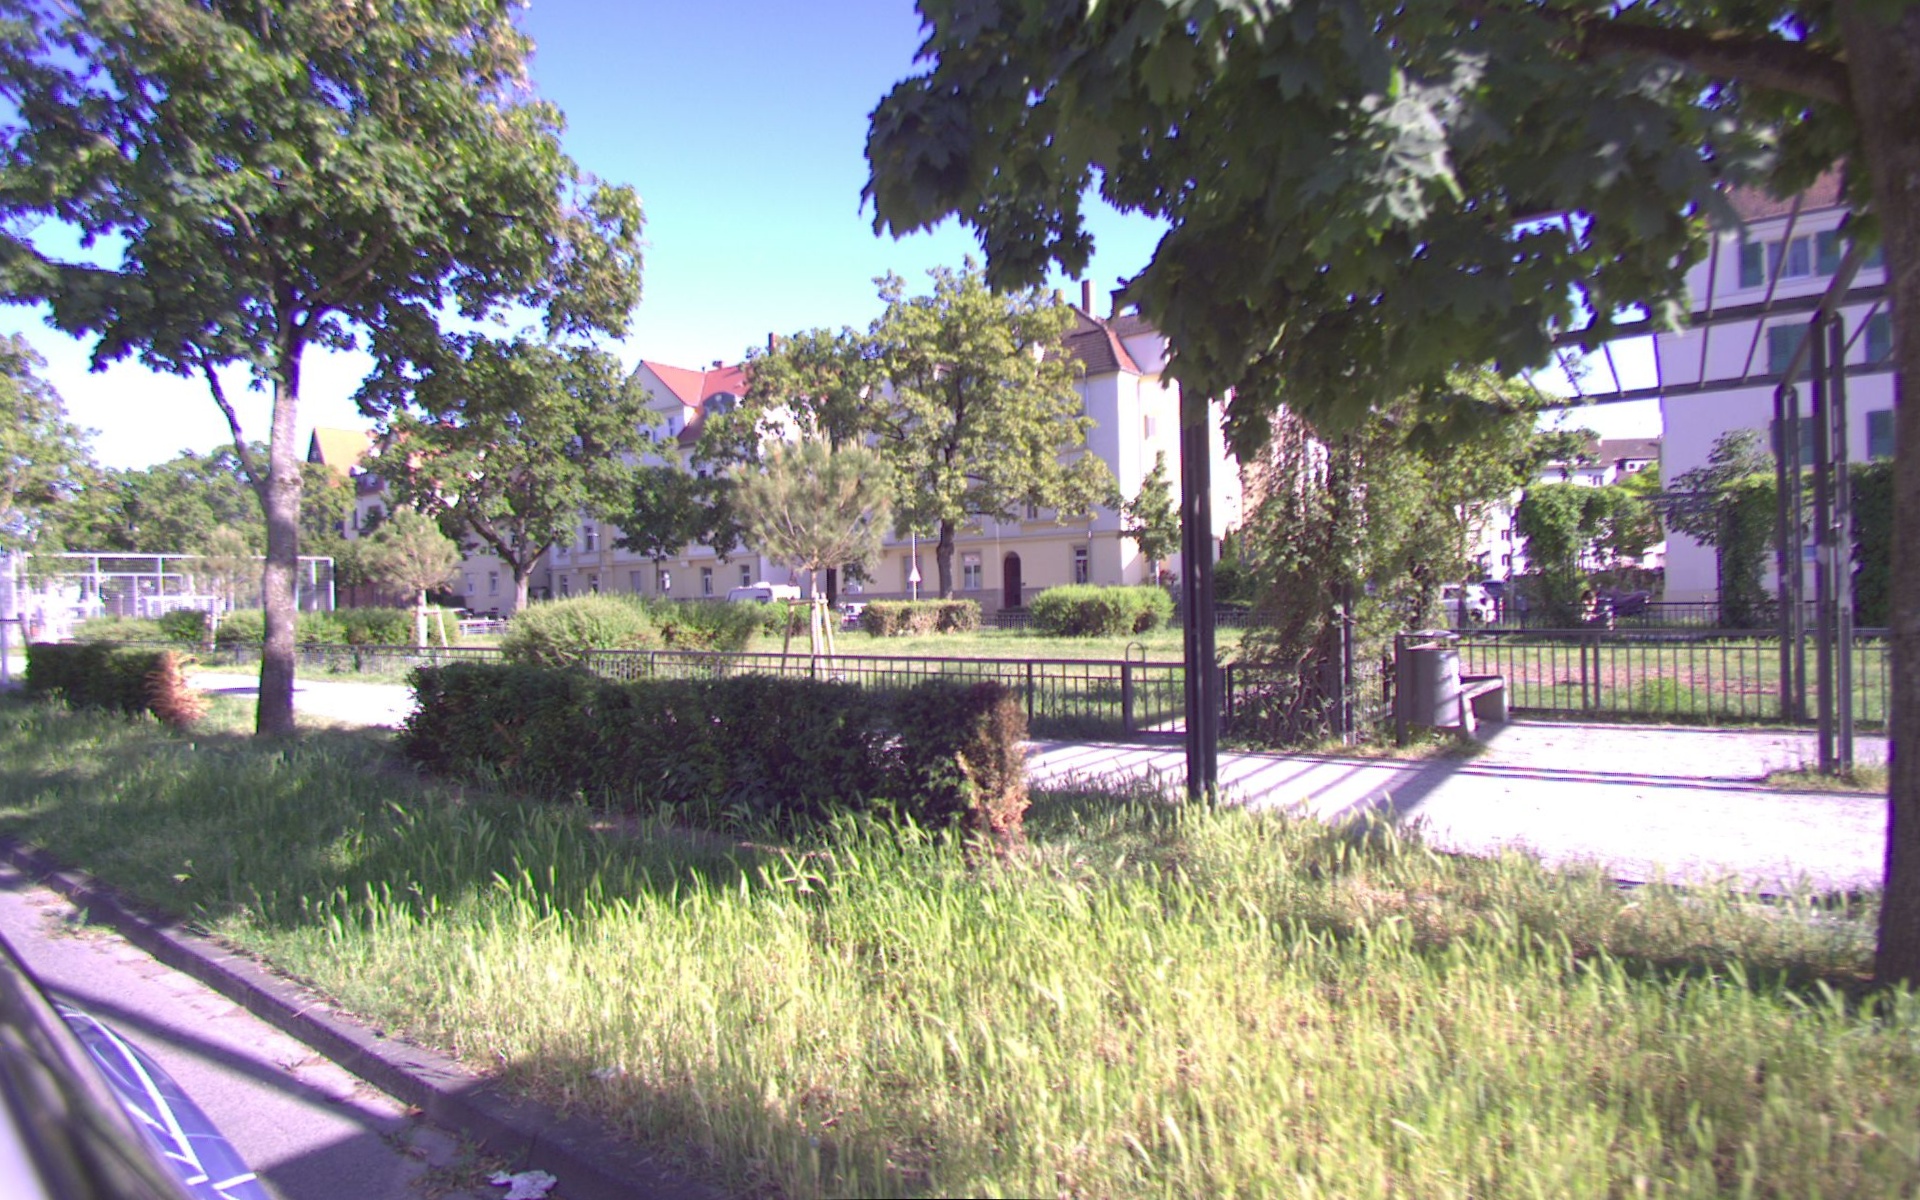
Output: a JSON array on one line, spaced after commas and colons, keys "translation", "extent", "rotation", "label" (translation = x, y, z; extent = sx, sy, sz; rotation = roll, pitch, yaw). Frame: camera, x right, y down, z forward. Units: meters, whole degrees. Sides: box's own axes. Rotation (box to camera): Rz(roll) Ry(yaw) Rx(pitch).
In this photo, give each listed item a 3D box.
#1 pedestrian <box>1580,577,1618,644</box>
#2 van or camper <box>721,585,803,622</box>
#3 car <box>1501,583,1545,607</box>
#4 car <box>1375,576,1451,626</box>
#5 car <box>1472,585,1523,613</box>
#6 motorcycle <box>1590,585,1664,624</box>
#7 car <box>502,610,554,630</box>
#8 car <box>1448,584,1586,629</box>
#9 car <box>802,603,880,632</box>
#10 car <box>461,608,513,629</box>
[{"translation": [14.105, 0.234, 22.333], "extent": [0.672, 1.450, 0.539], "rotation": [-2, 0, 34], "label": "pedestrian"}, {"translation": [-11.301, 0.206, 57.806], "extent": [4.366, 2.029, 2.247], "rotation": [-1, 1, 37], "label": "van or camper"}, {"translation": [38.348, -0.363, 68.867], "extent": [2.040, 1.530, 3.767], "rotation": [-1, 0, 38], "label": "car"}, {"translation": [18.937, 0.016, 42.272], "extent": [2.040, 1.970, 3.767], "rotation": [-1, 0, 38], "label": "car"}, {"translation": [31.936, -0.068, 60.053], "extent": [2.040, 1.530, 3.767], "rotation": [-1, 0, 38], "label": "car"}, {"translation": [23.576, 0.166, 35.819], "extent": [2.140, 1.315, 0.809], "rotation": [-1, 0, 35], "label": "motorcycle"}, {"translation": [-30.726, 1.445, 71.930], "extent": [3.994, 1.303, 1.670], "rotation": [-1, 0, 38], "label": "car"}, {"translation": [17.802, 0.218, 32.404], "extent": [3.704, 1.341, 1.732], "rotation": [-1, 0, 35], "label": "car"}, {"translation": [-6.388, 0.923, 54.077], "extent": [3.994, 1.464, 1.823], "rotation": [-1, 0, 38], "label": "car"}, {"translation": [-35.203, 1.406, 75.283], "extent": [3.994, 1.464, 1.823], "rotation": [-1, 0, 38], "label": "car"}]
